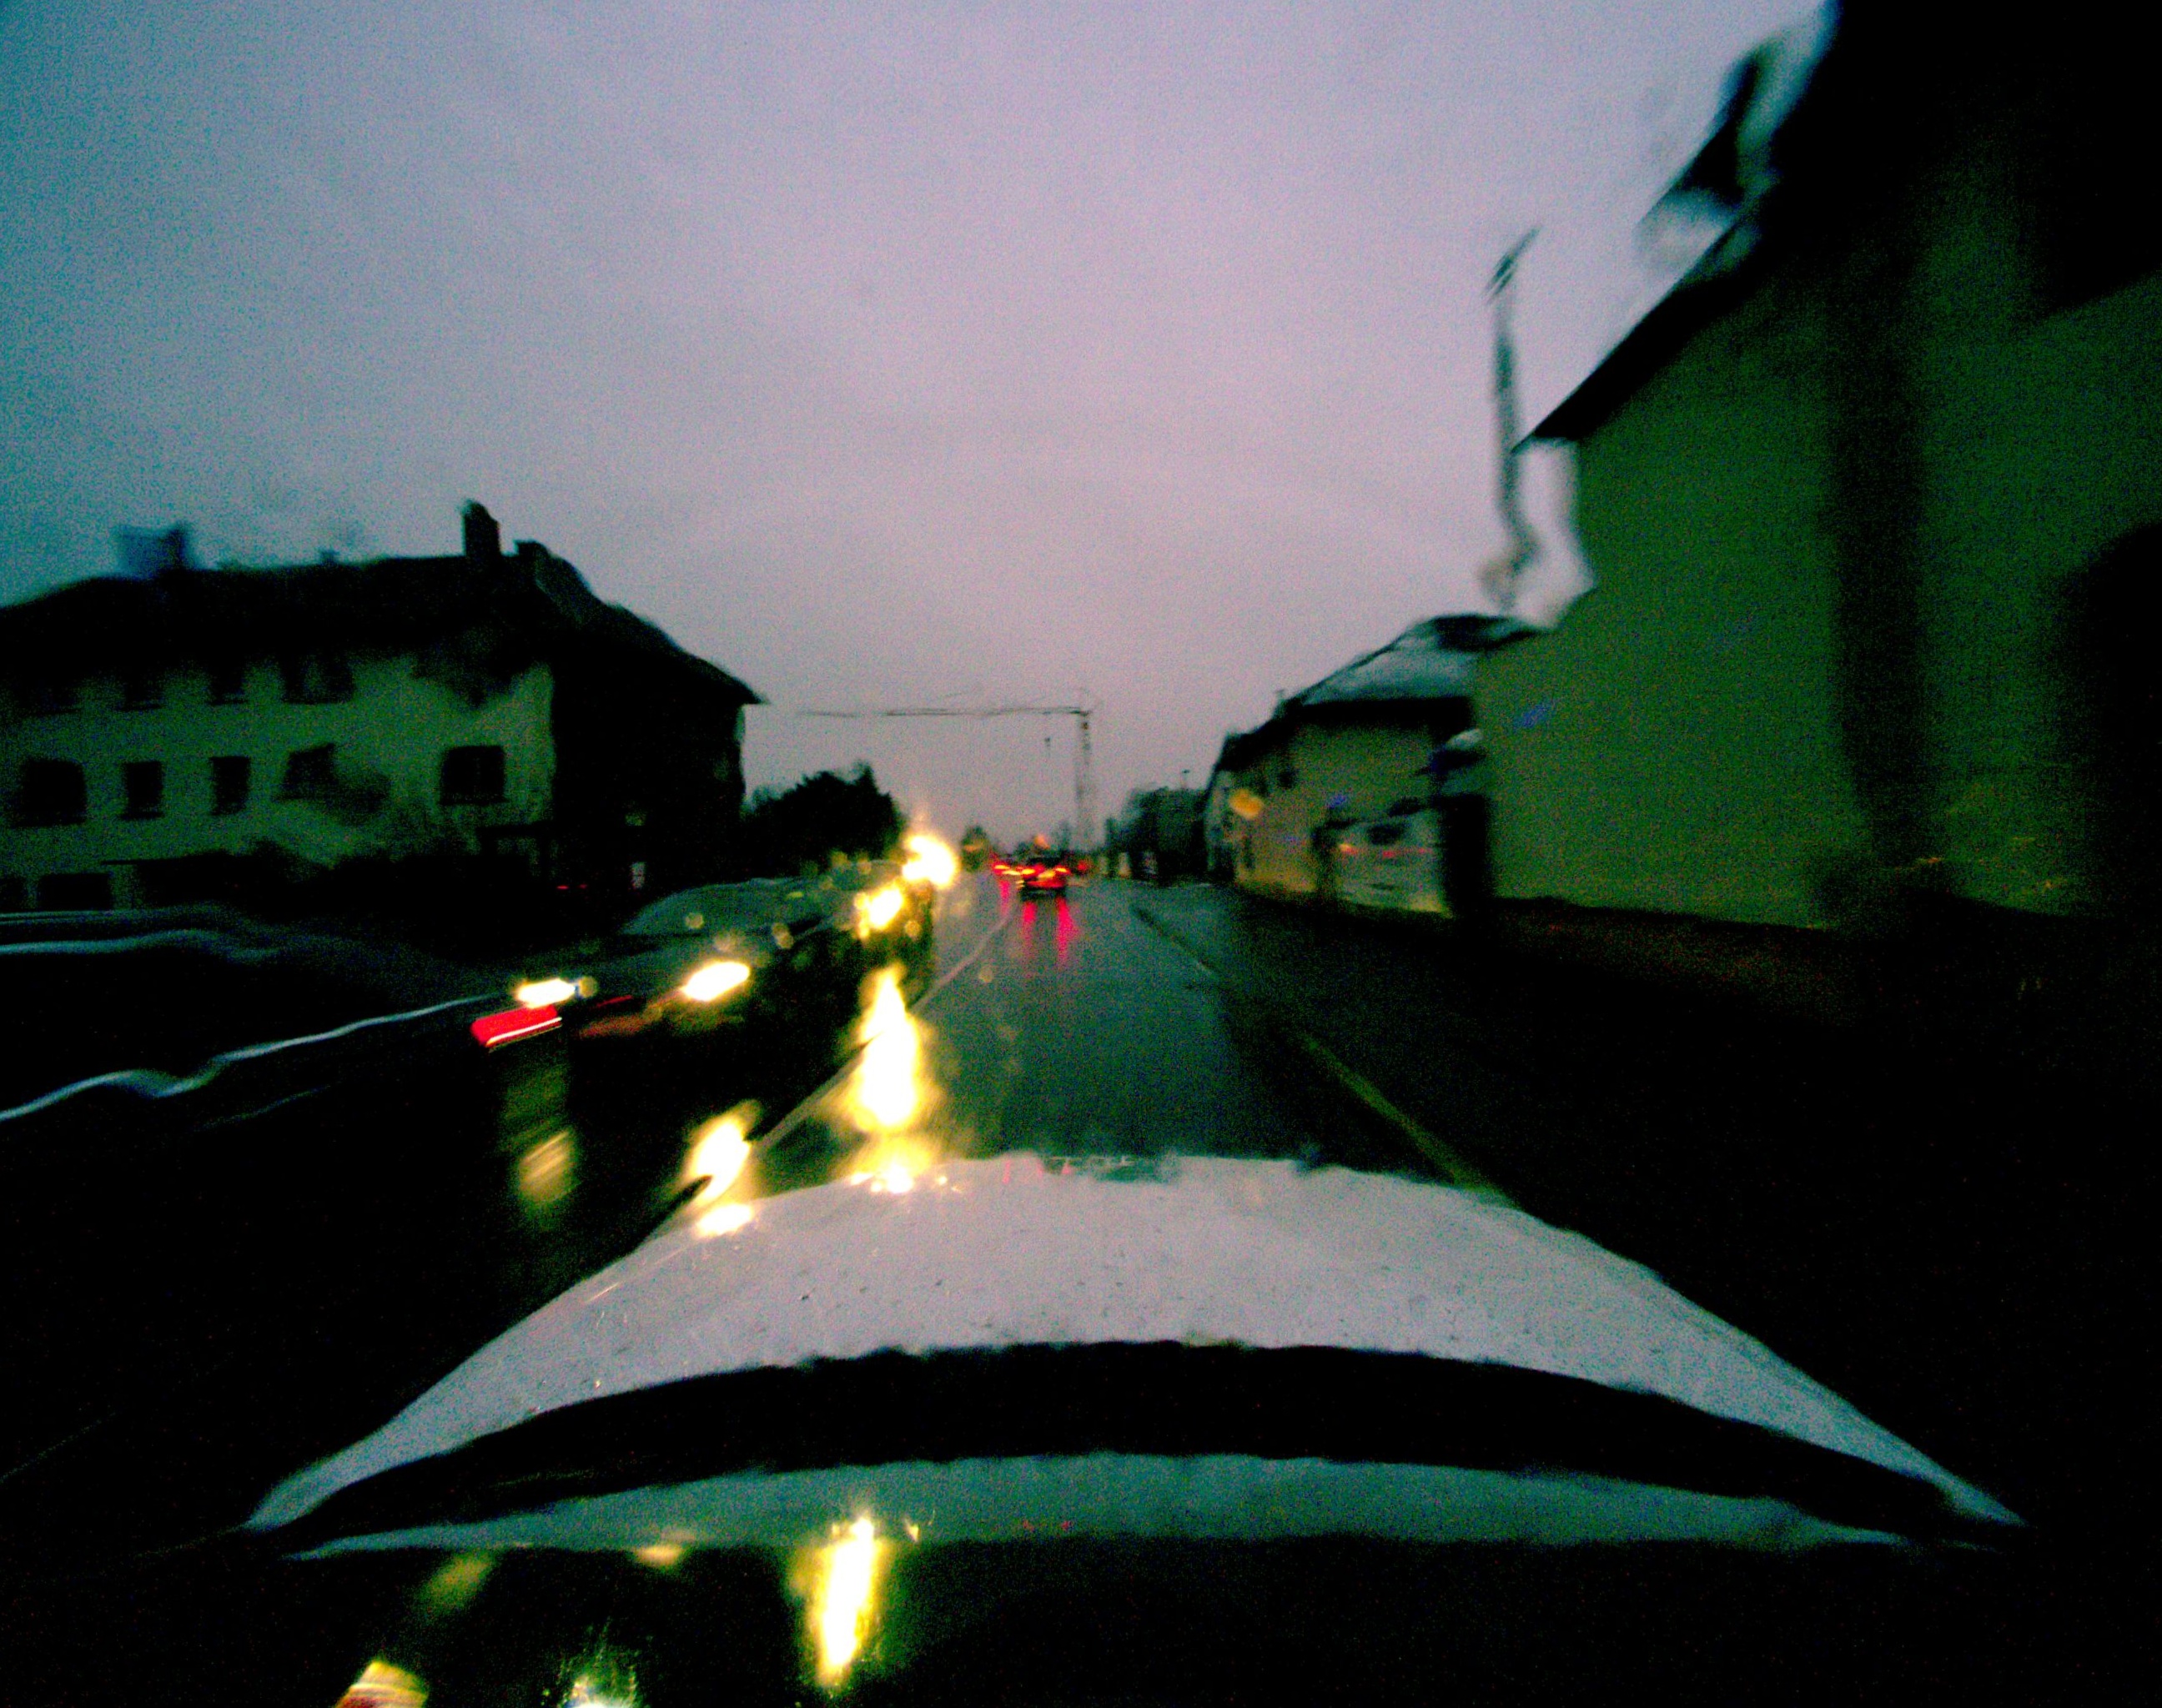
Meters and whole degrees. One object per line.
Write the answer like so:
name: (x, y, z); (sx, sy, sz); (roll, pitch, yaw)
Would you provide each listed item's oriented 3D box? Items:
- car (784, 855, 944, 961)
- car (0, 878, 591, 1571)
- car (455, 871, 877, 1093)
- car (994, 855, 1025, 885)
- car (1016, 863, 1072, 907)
car: (-3.838, 0.868, 15.199); (1.871, 1.585, 4.287); (-3, 0, -2)
car: (-3.248, 0.854, 1.432); (1.873, 1.394, 4.525); (-3, 0, 2)
car: (-3.434, 0.939, 7.839); (1.819, 1.373, 4.285); (-3, 0, 0)
car: (-4.931, 1.083, 55.956); (1.991, 1.881, 3.991); (-3, 0, -6)
car: (-1.615, 1.230, 33.556); (2.044, 1.573, 4.693); (-2, -1, -5)
